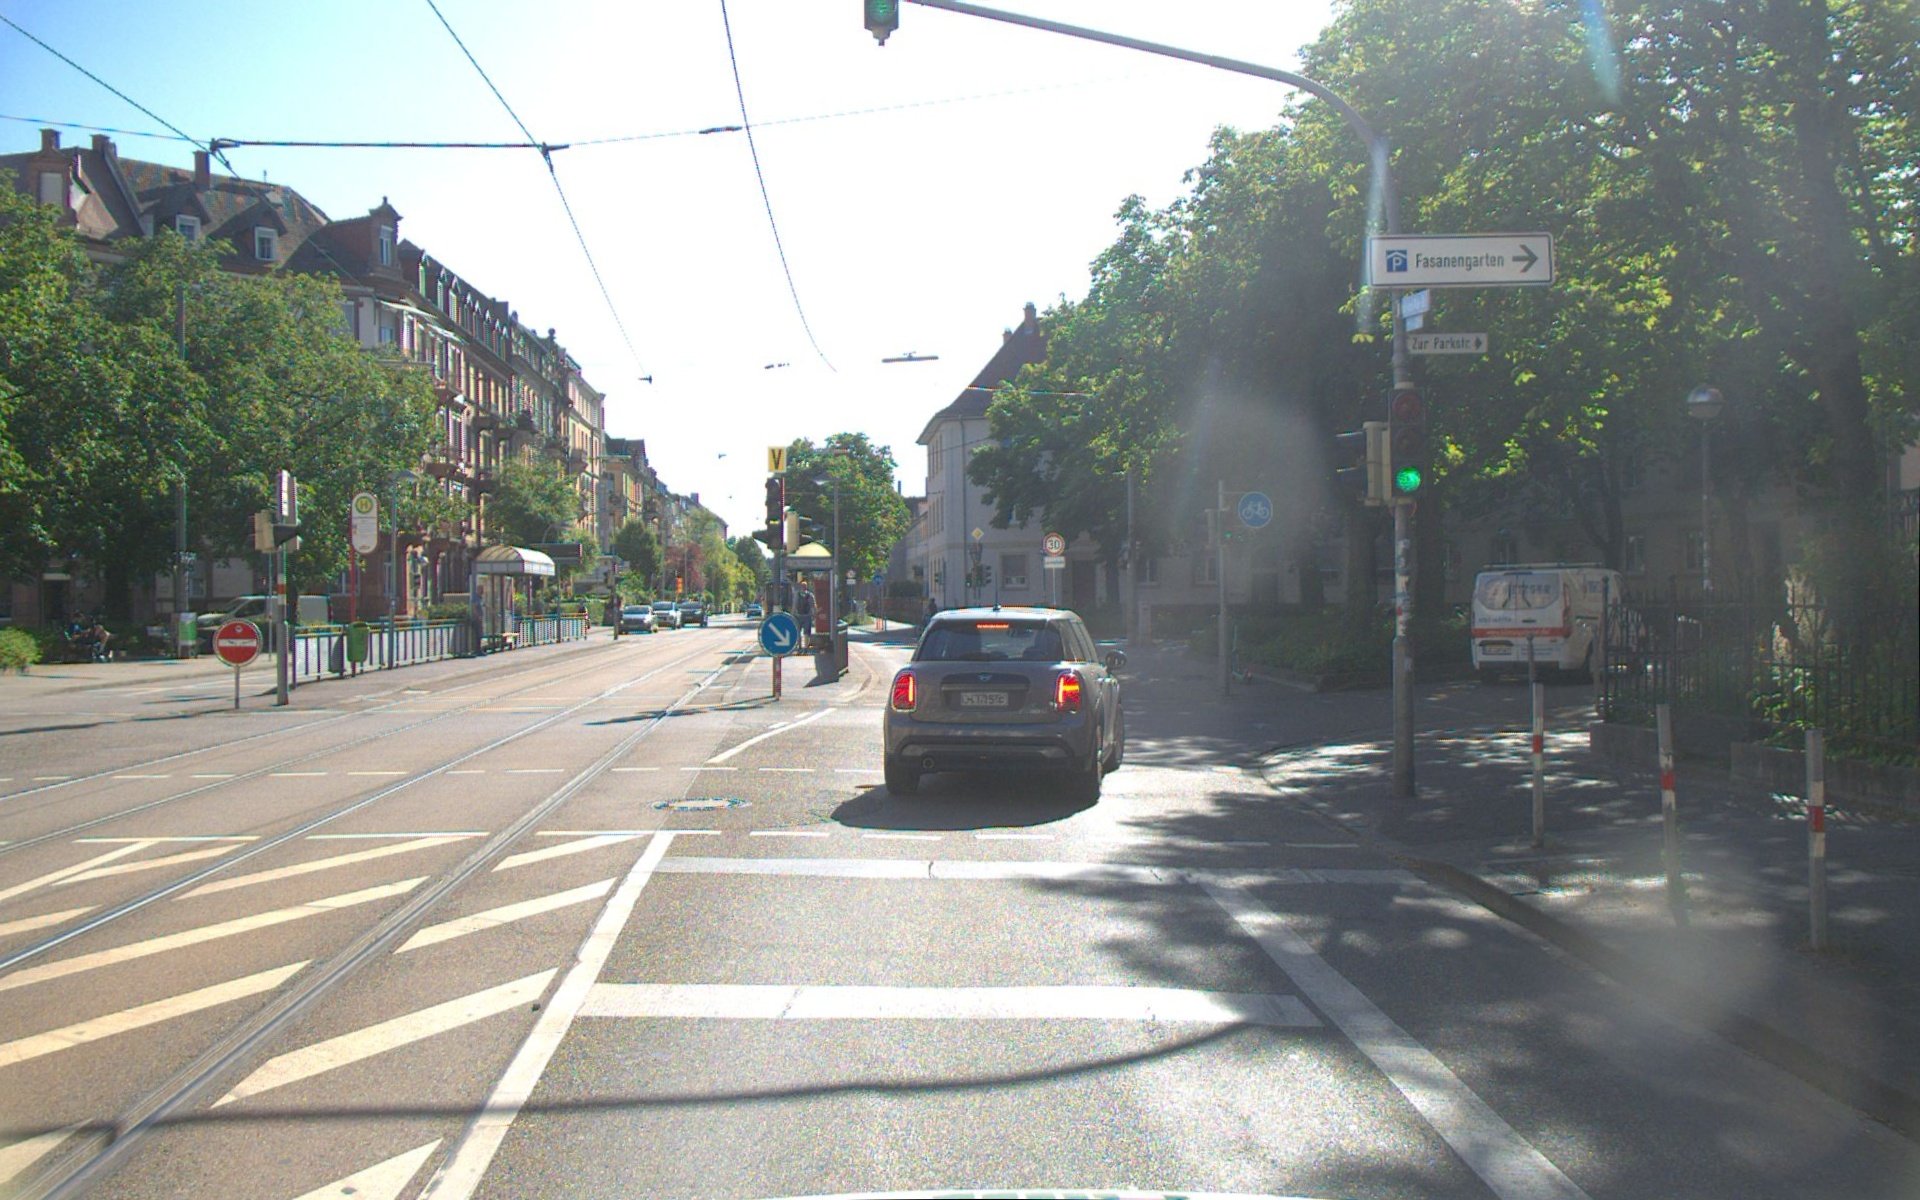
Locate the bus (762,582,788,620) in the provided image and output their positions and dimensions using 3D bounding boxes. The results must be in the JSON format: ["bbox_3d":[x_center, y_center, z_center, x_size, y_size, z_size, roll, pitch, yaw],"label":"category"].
[{"bbox_3d":[-17.848,0.143,159.016,2.340,3.558,7.371,0,-1,-7],"label":"bus"}]

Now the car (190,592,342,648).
[{"bbox_3d":[-26.467,0.786,63.184,1.966,2.049,4.995,-1,-2,44],"label":"car"}]

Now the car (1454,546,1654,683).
[{"bbox_3d":[10.757,0.291,29.719,2.083,2.247,4.924,-1,-1,36],"label":"car"}]

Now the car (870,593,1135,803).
[{"bbox_3d":[0.513,0.743,14.037,1.777,1.514,4.003,0,-1,8],"label":"car"}]

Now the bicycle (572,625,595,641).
[{"bbox_3d":[-18.154,1.613,79.859,0.704,0.763,1.915,0,-1,-1],"label":"bicycle"}]

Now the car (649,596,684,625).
[{"bbox_3d":[-17.108,0.646,96.506,1.742,1.646,3.994,0,-1,-7],"label":"car"}]

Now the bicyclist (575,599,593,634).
[{"bbox_3d":[-18.149,0.805,79.920,0.699,1.695,0.734,0,-1,-1],"label":"bicyclist"}]

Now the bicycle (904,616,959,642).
[{"bbox_3d":[-1.307,1.347,76.170,2.484,1.176,0.843,0,-1,31],"label":"bicycle"}]

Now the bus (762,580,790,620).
[{"bbox_3d":[-16.901,0.035,151.662,2.340,3.558,7.371,0,-1,-7],"label":"bus"}]

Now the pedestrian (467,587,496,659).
[{"bbox_3d":[-12.425,0.595,42.938,0.594,1.826,0.578,-1,0,-7],"label":"pedestrian"}]

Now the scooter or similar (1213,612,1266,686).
[{"bbox_3d":[5.151,0.890,30.537,0.663,1.333,1.327,0,-1,-4],"label":"scooter or similar"}]

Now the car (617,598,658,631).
[{"bbox_3d":[-16.677,0.784,85.703,1.742,1.646,3.994,0,-1,-7],"label":"car"}]

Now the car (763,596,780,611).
[{"bbox_3d":[-20.975,0.427,184.121,1.828,1.591,3.994,0,-1,-7],"label":"car"}]

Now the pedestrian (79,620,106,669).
[{"bbox_3d":[-22.012,1.131,41.990,0.571,1.223,0.602,-1,0,-27],"label":"pedestrian"}]

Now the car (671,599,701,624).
[{"bbox_3d":[-18.147,0.778,109.662,1.742,1.646,3.994,0,-1,-7],"label":"car"}]

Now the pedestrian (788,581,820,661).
[{"bbox_3d":[-4.012,0.544,42.559,0.780,2.049,0.739,0,-1,-5],"label":"pedestrian"}]

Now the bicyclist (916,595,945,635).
[{"bbox_3d":[-1.359,0.699,76.207,1.036,1.843,0.818,0,-1,31],"label":"bicyclist"}]
